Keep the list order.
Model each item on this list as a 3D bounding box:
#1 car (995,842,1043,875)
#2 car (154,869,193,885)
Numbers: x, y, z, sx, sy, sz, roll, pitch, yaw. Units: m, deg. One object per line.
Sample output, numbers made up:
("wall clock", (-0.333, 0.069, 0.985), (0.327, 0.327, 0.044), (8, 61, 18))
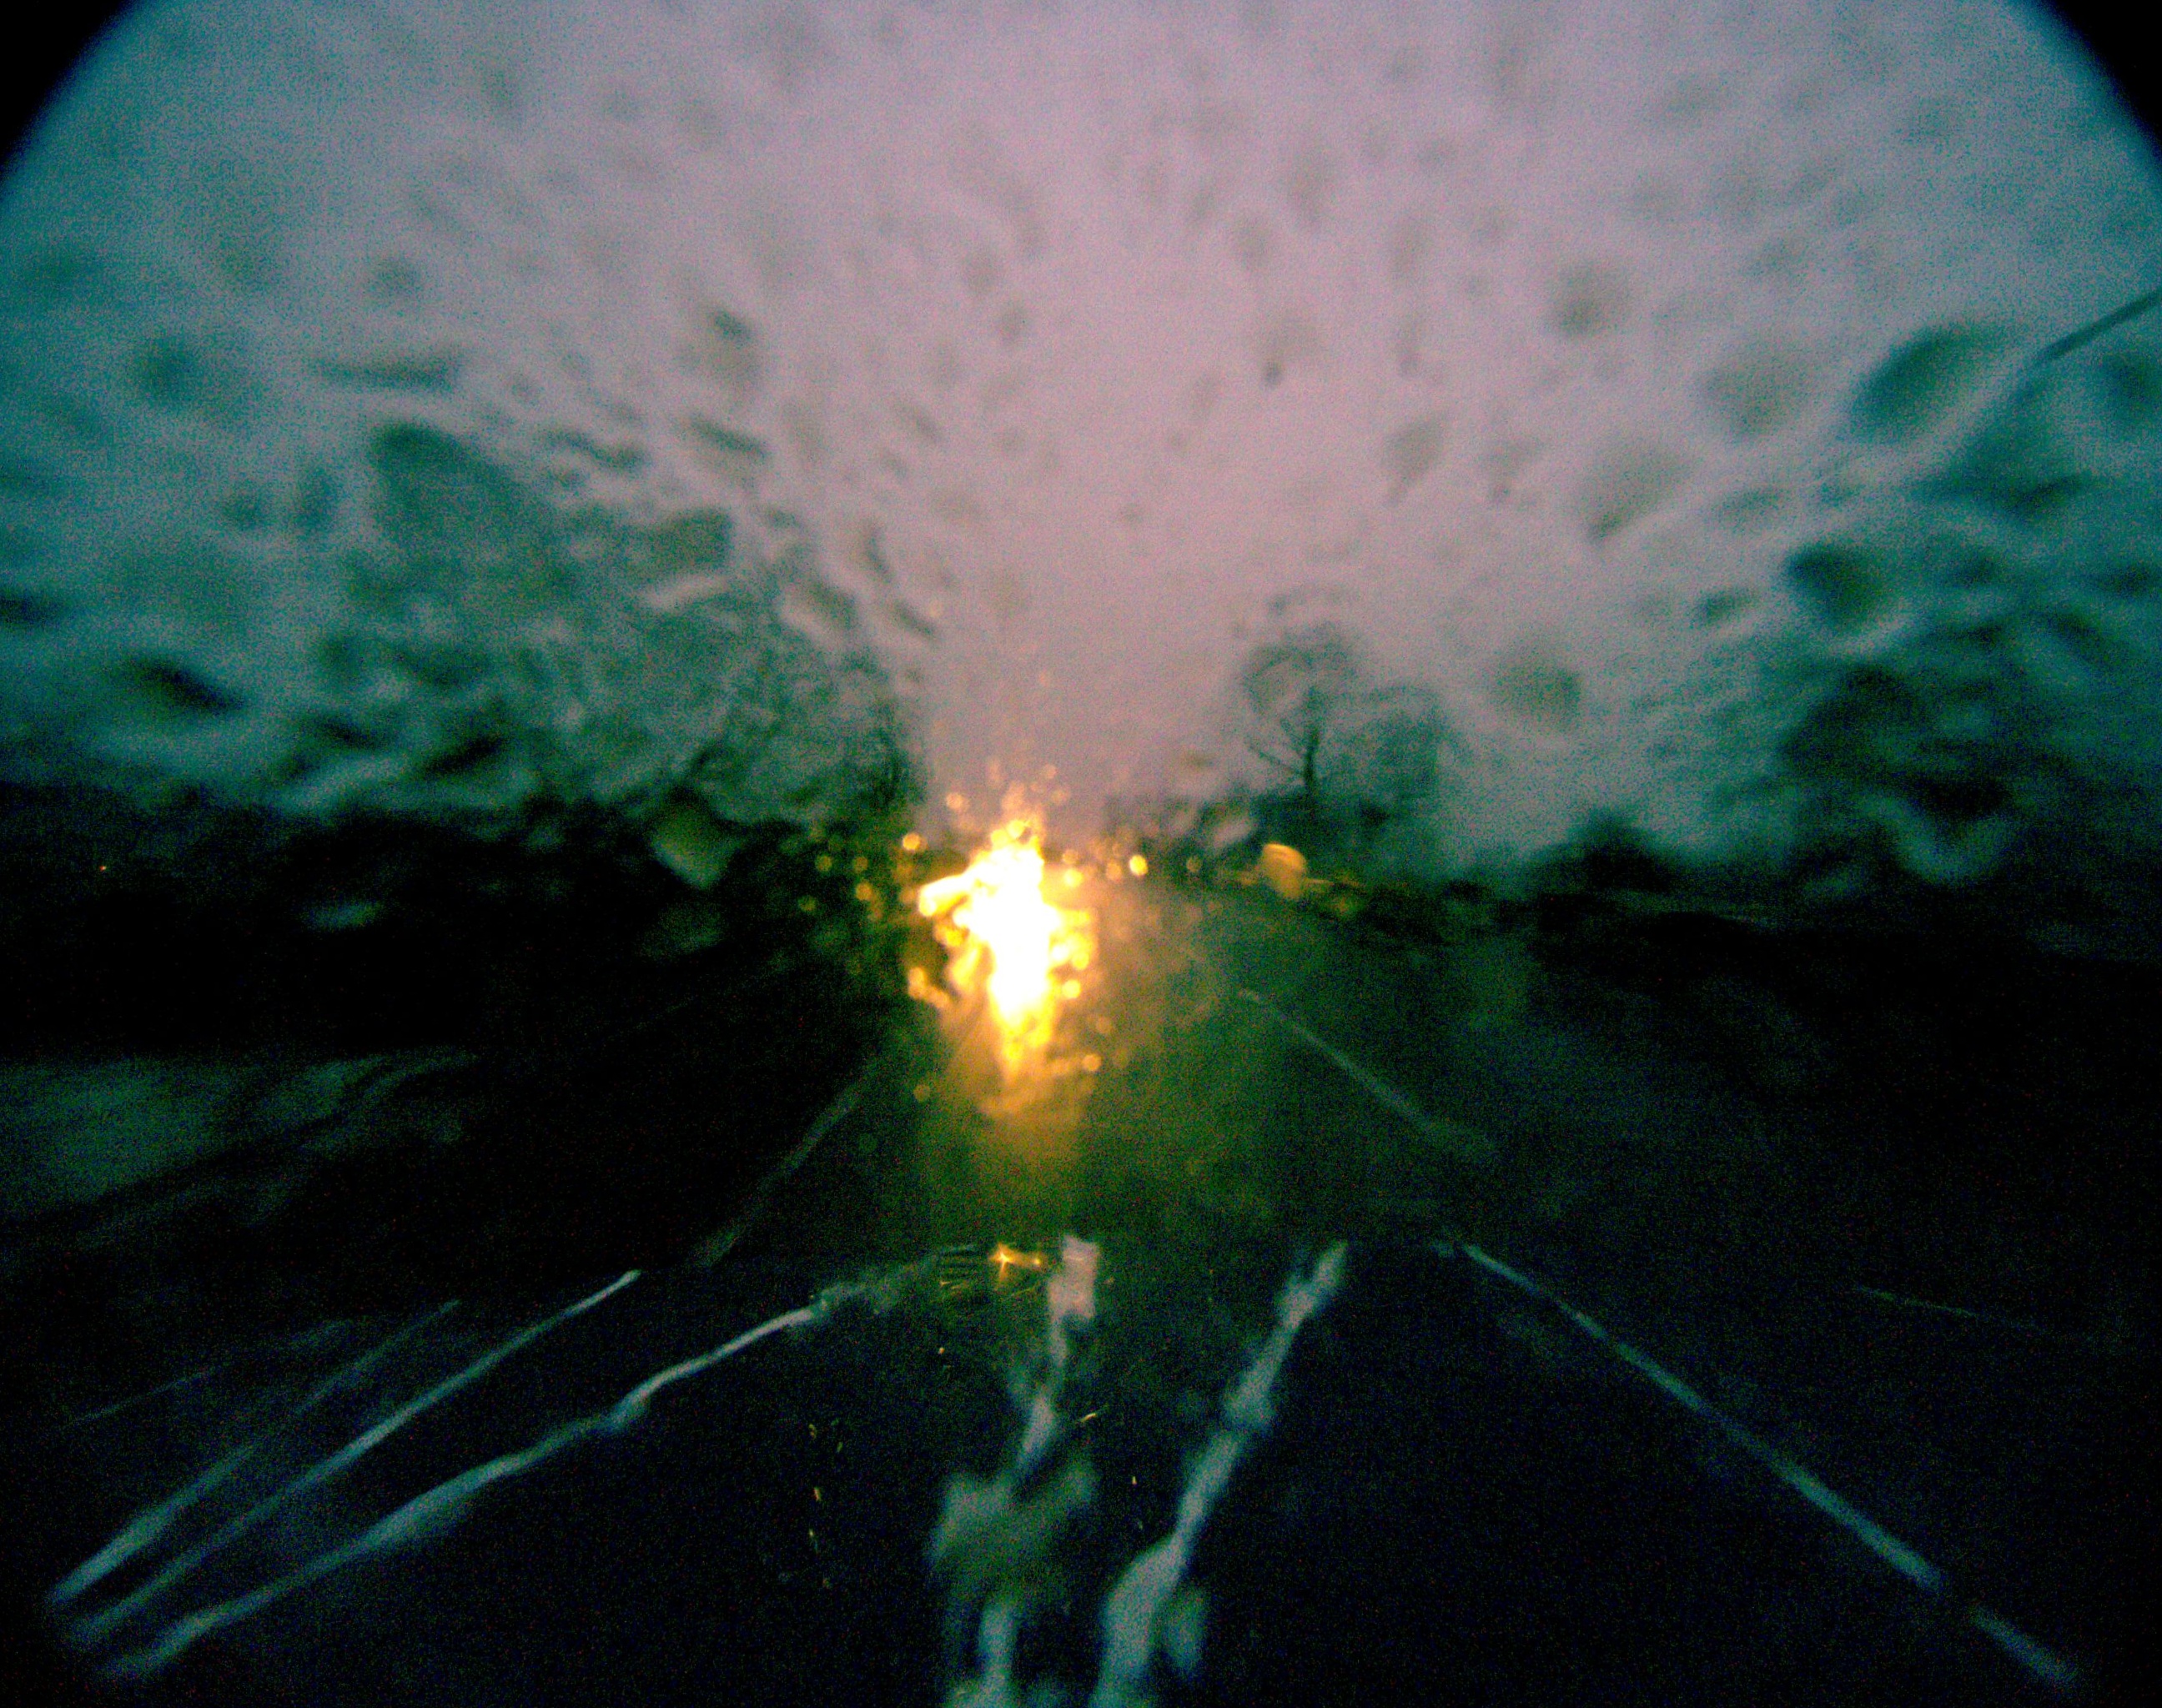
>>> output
("car", (-3.181, 0.248, 38.188), (2.104, 1.566, 4.796), (1, -1, -8))
("car", (-104.062, 2.624, 87.149), (3.989, 1.718, 2.003), (1, 2, 28))
